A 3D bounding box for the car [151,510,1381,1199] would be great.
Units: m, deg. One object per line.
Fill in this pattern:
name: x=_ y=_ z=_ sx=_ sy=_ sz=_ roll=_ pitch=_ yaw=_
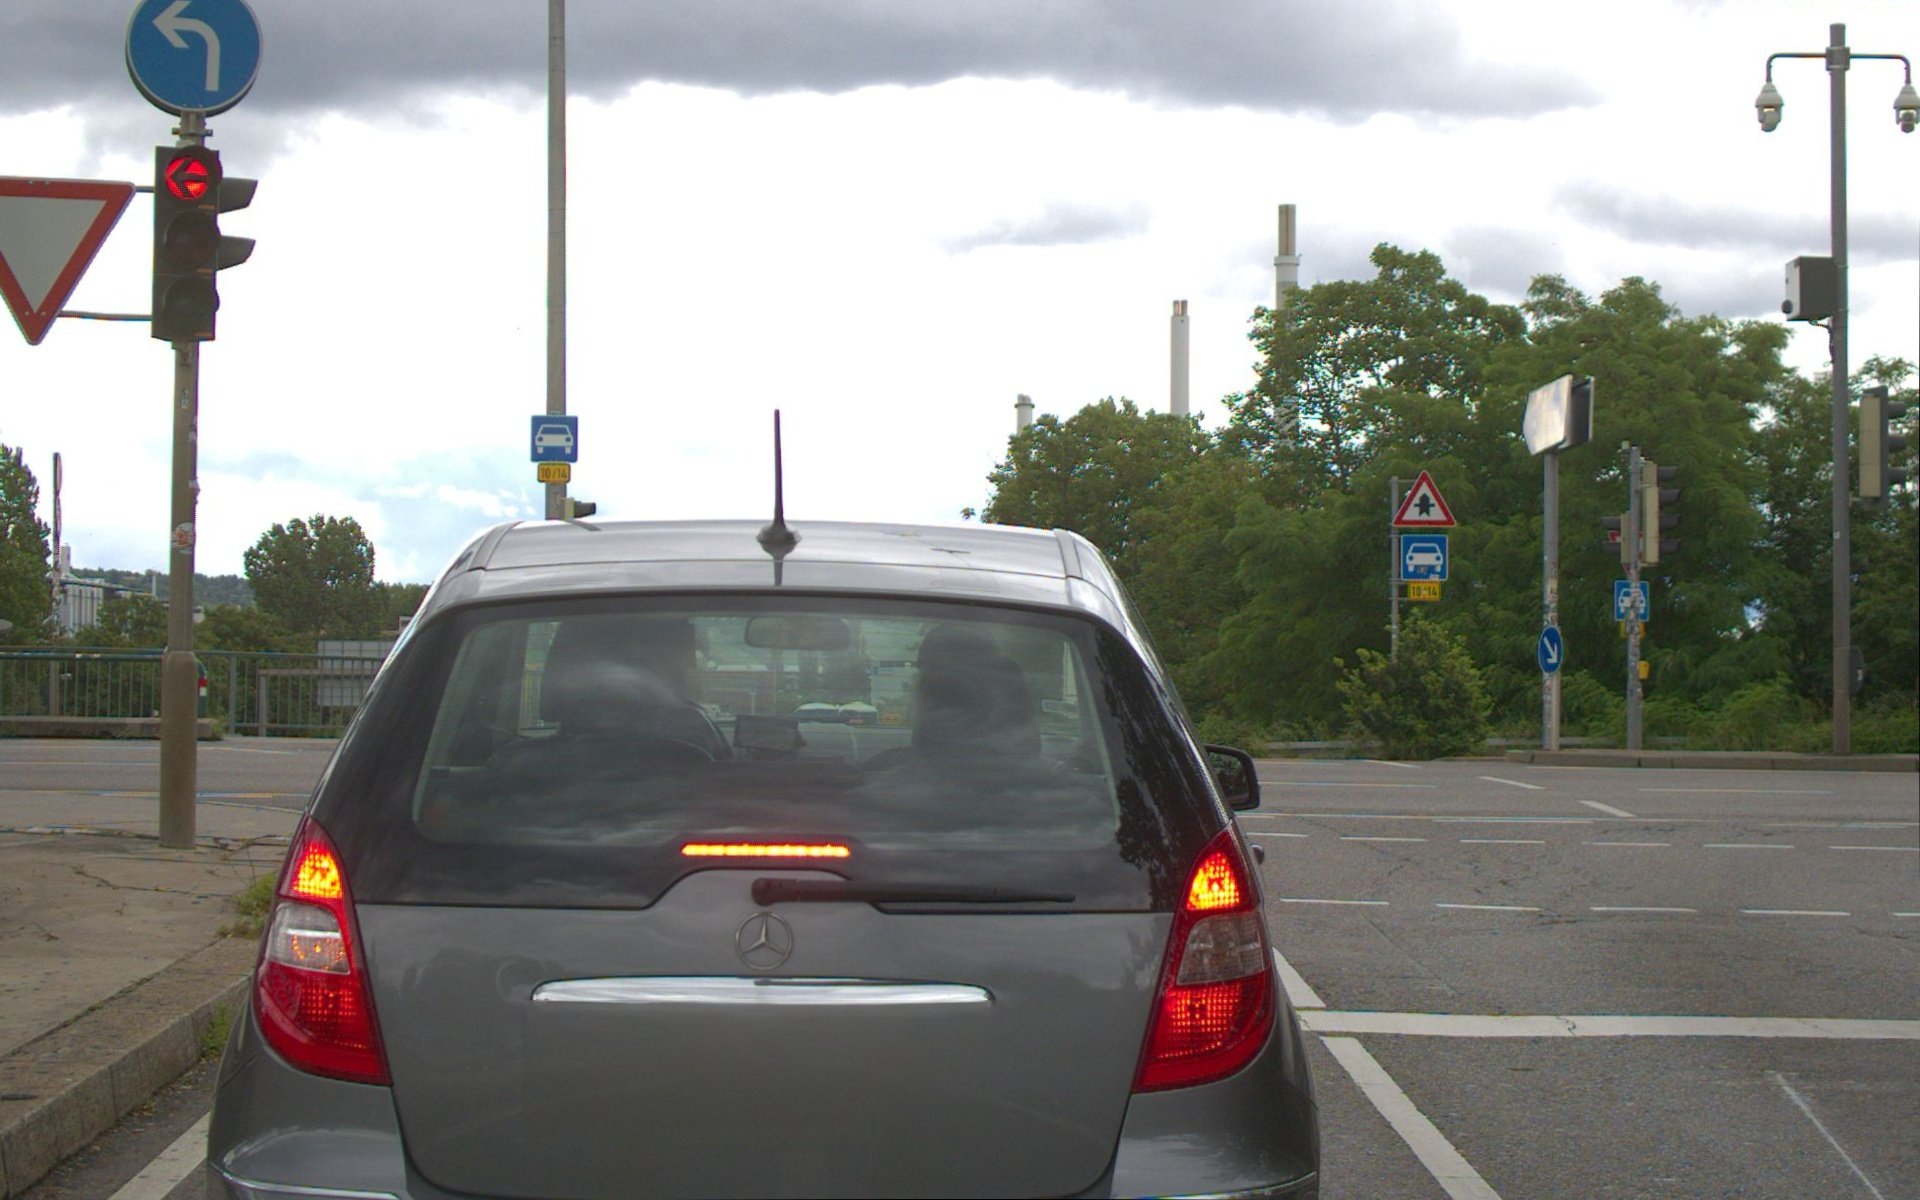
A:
car: x=-0.294 y=0.635 z=6.667 sx=1.739 sy=1.538 sz=3.541 roll=1 pitch=1 yaw=0
